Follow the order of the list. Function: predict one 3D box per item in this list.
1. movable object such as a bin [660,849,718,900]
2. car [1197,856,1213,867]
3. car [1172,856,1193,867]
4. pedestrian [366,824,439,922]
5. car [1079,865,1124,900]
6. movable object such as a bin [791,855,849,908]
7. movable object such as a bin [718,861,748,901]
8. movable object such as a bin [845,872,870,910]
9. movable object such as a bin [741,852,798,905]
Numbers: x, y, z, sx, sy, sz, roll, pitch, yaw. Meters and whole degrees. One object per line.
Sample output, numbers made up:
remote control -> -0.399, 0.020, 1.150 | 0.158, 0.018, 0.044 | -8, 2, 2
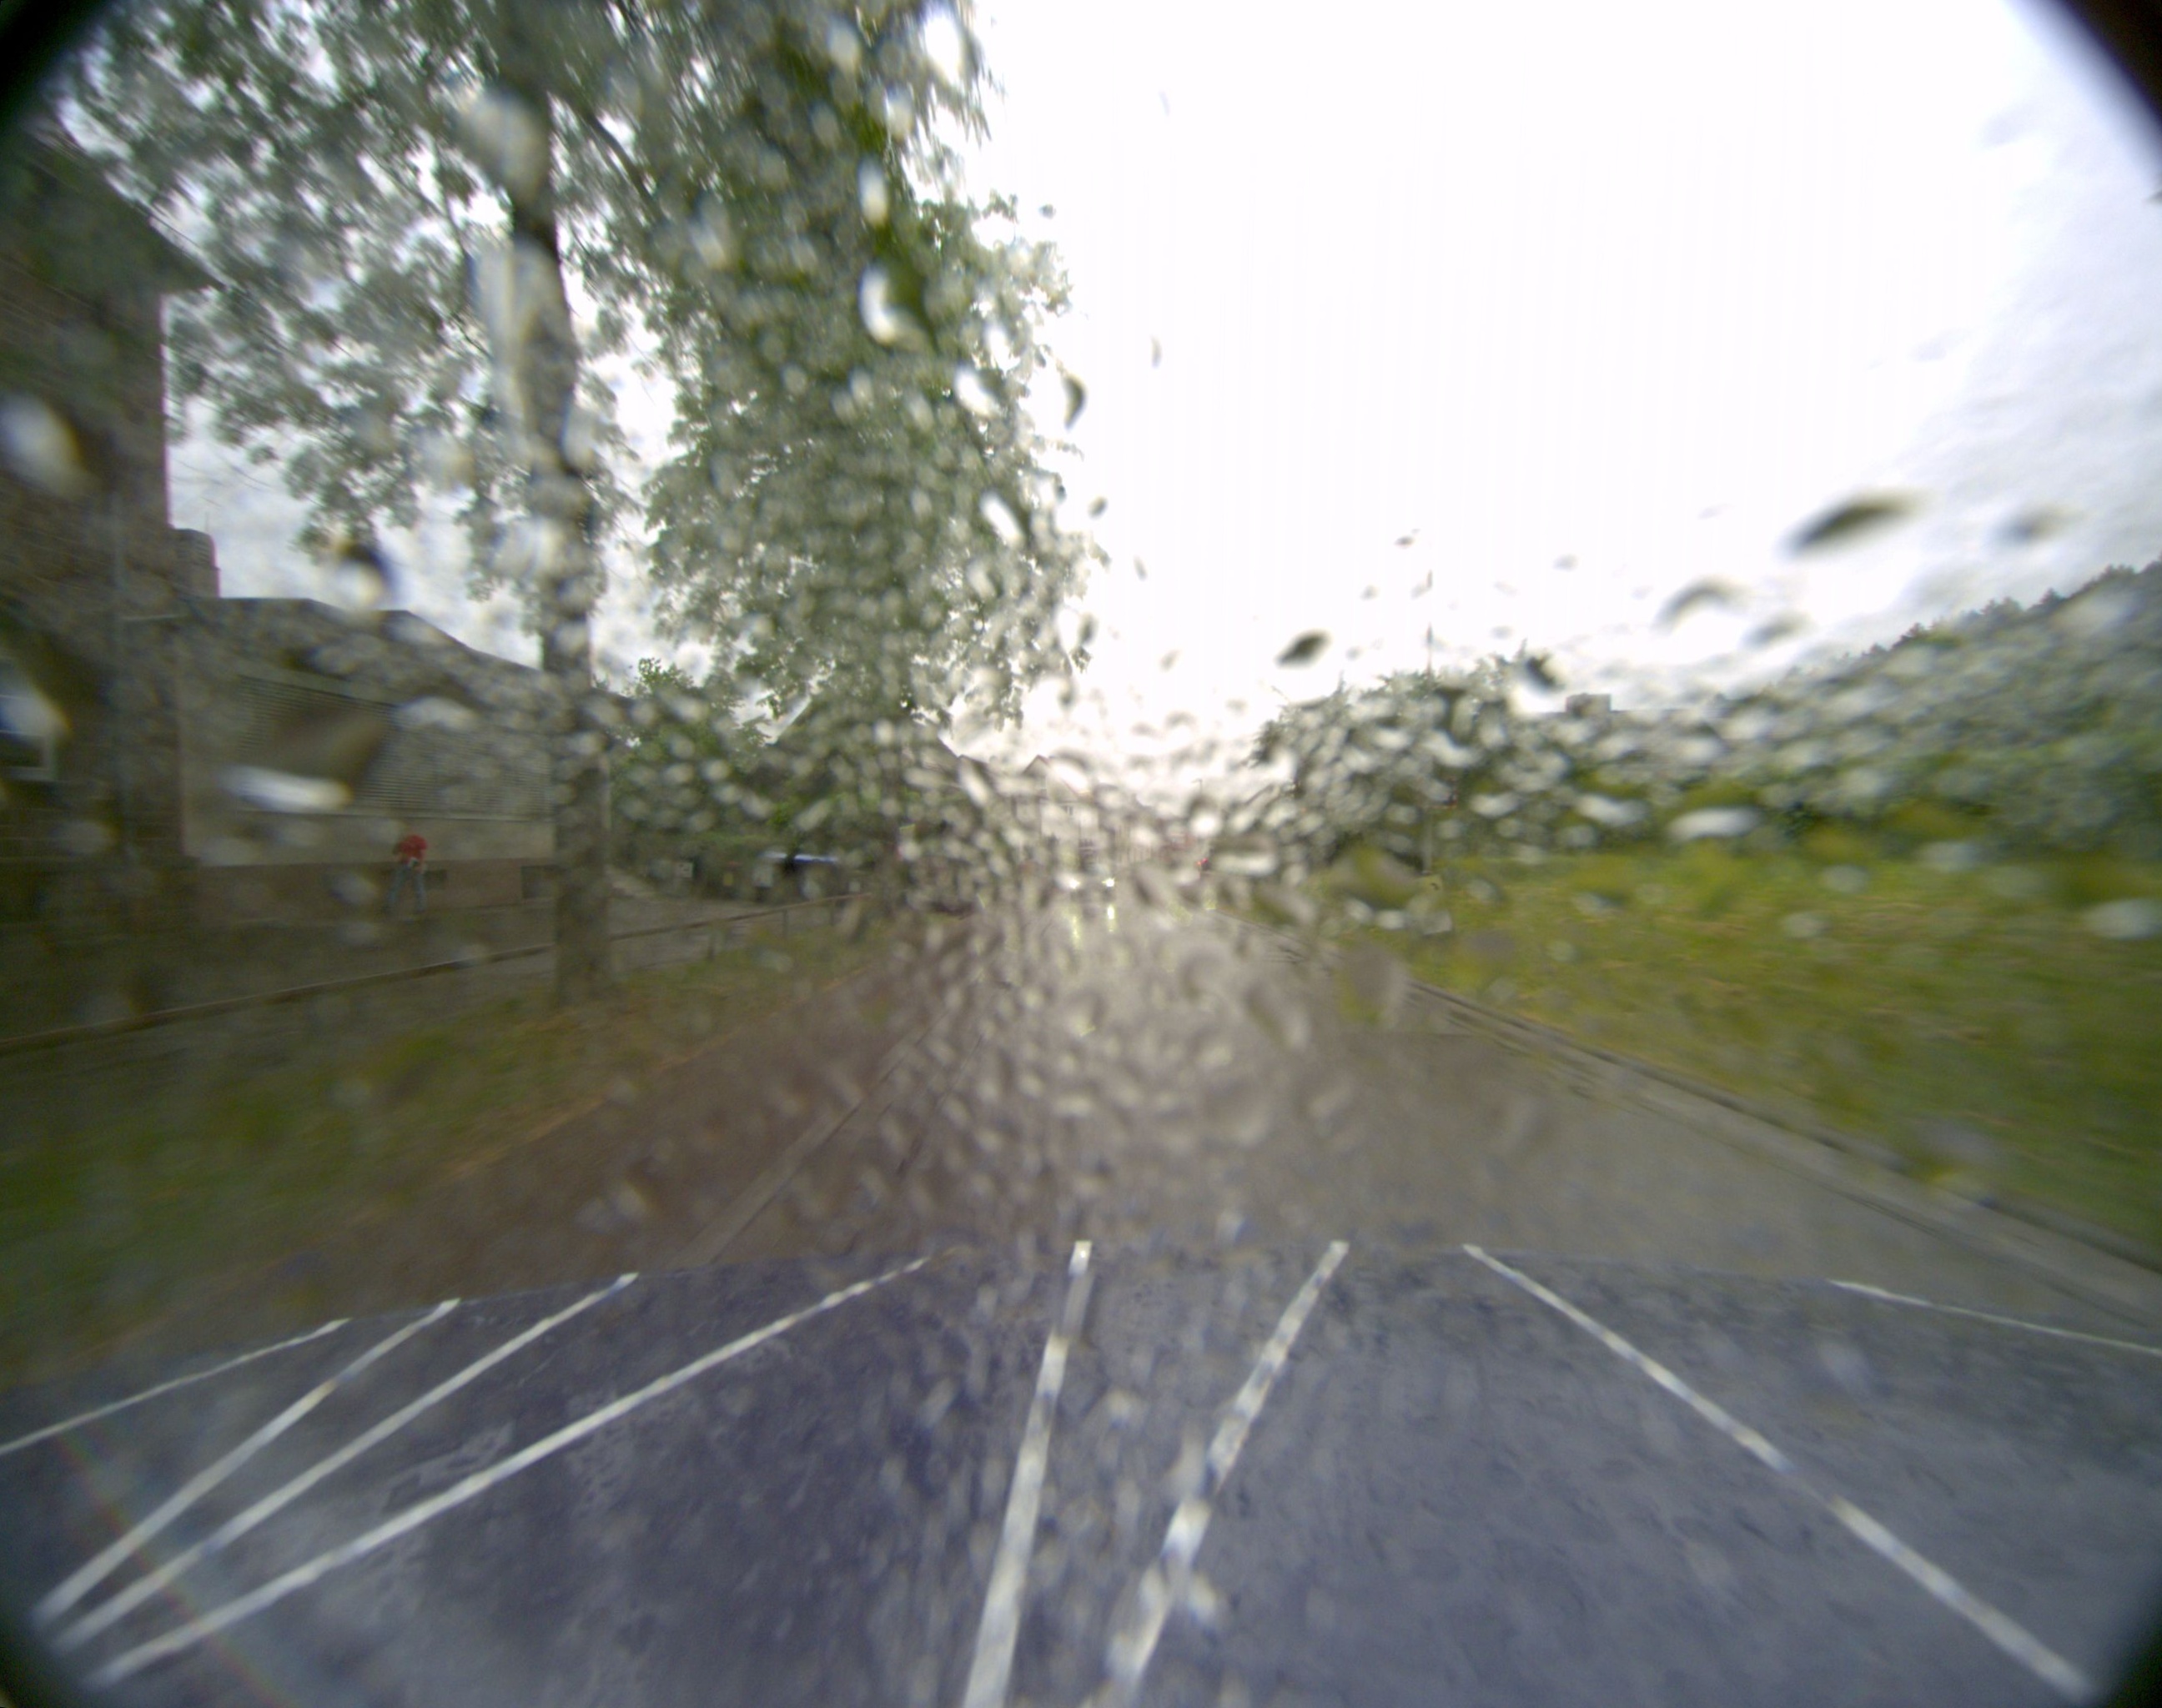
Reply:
movable object such as a bin -> -11.129, 0.569, 21.597 | 1.151, 1.335, 0.795 | 4, 1, 0
car -> 17.228, 1.052, 105.158 | 1.702, 1.538, 3.856 | 2, 0, 17
car -> 15.054, 1.144, 112.862 | 1.892, 1.566, 3.887 | -3, 0, -12
pedestrian -> -12.445, 0.340, 13.957 | 0.536, 1.744, 0.867 | 1, 0, 1
car -> 0.786, 1.125, 31.203 | 1.667, 1.290, 3.518 | -2, -1, -1
movable object such as a bin -> -7.382, 0.766, 21.546 | 1.296, 1.410, 0.795 | 3, 1, -1
movable object such as a bin -> -9.953, 0.765, 21.757 | 0.568, 1.073, 0.530 | 3, 1, -1
movable object such as a bin -> -6.368, 1.042, 21.622 | 0.538, 1.017, 0.463 | 3, 1, -1
movable object such as a bin -> -8.859, 0.687, 21.662 | 1.238, 1.428, 0.795 | 4, 1, -1
